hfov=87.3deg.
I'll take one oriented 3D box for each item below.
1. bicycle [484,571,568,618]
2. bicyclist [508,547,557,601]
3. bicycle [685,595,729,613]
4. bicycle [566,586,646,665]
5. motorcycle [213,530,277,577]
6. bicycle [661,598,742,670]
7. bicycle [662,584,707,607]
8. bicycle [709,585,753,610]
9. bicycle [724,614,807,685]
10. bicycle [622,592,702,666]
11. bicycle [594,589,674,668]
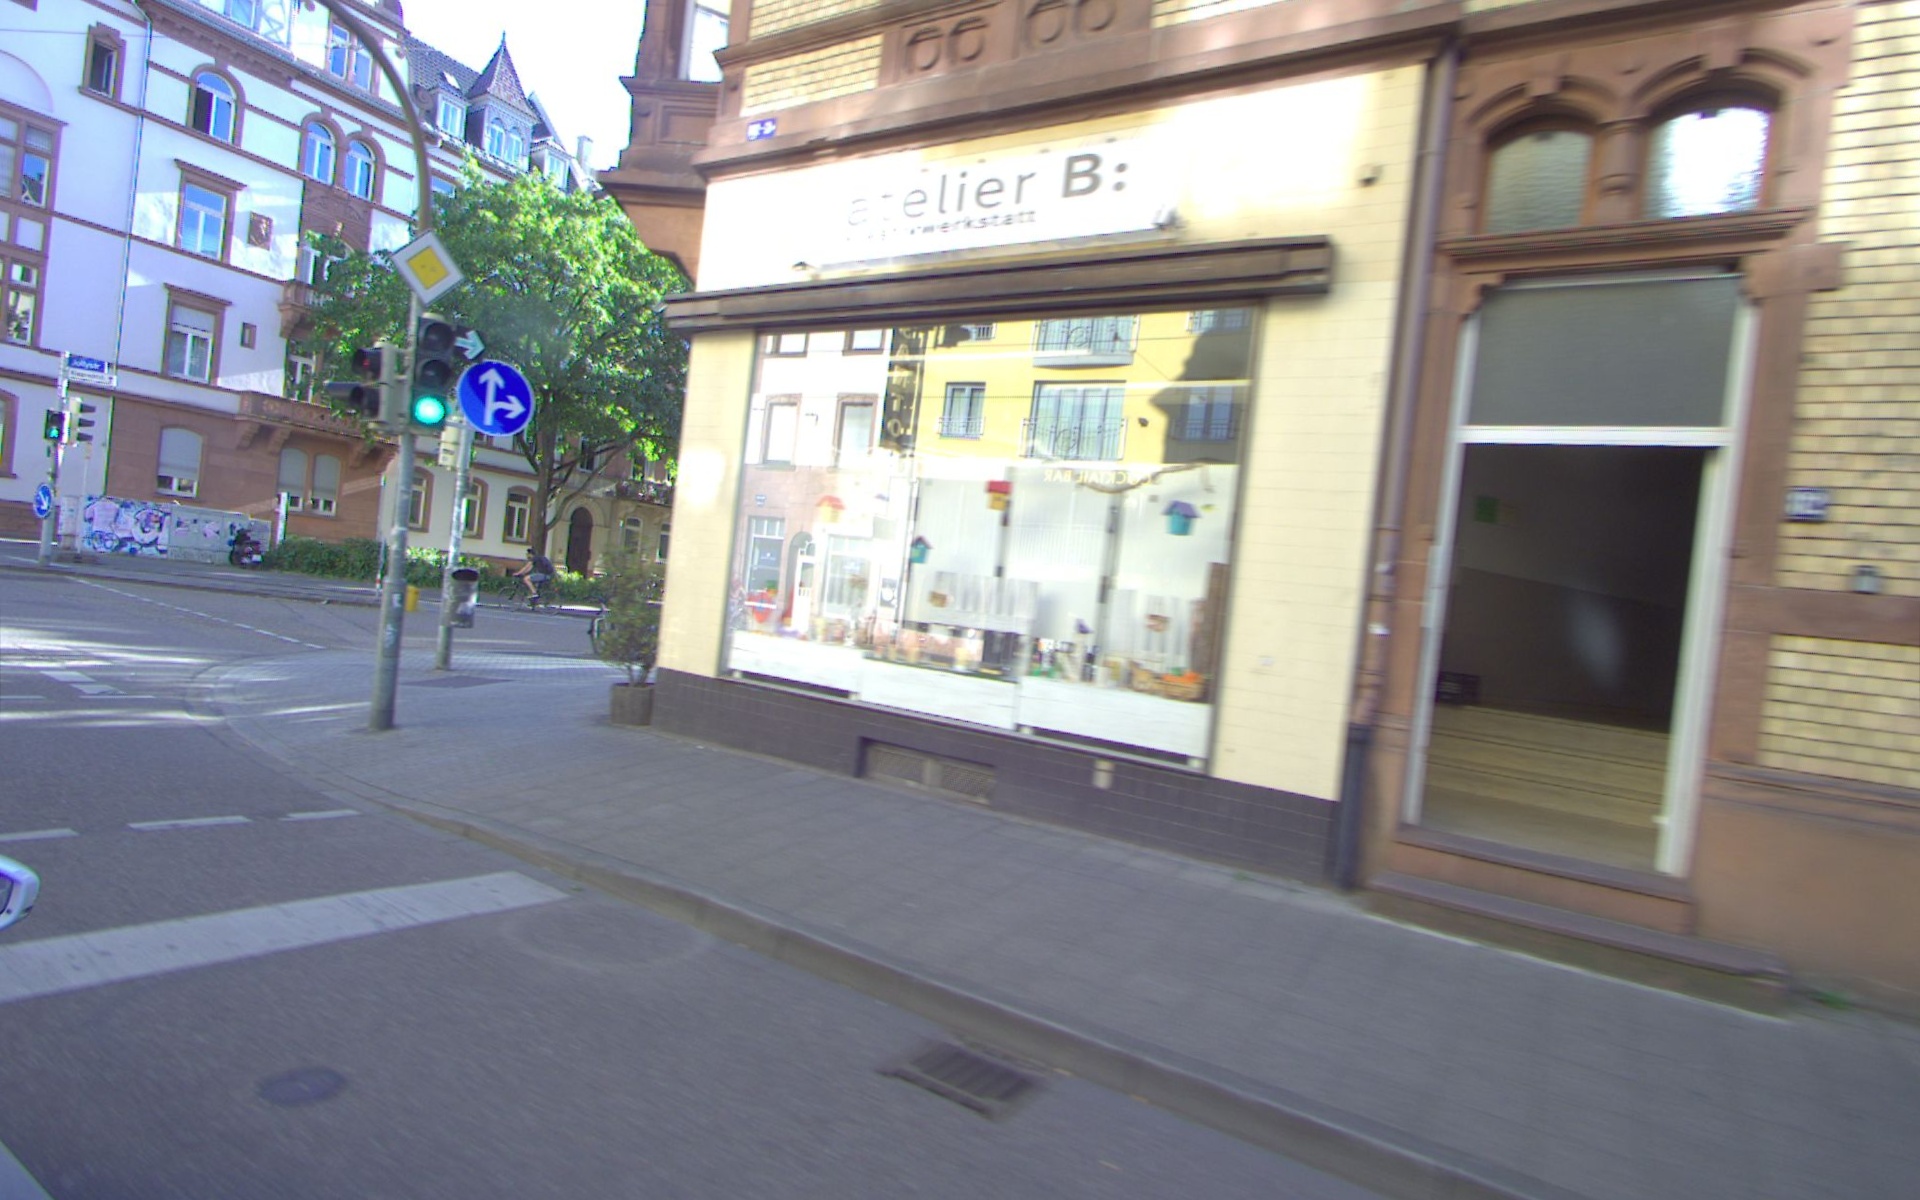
[{"bbox_3d":[-12.203,-0.153,28.351,2.068,1.057,0.843,7,0,-22],"label":"bicycle"},{"bbox_3d":[-12.046,-0.740,28.366,1.120,1.360,0.833,6,1,-22],"label":"bicyclist"},{"bbox_3d":[-12.680,0.187,50.335,2.128,0.658,1.013,6,0,38],"label":"bicycle"},{"bbox_3d":[-5.981,0.401,16.917,0.612,1.157,2.100,6,-1,-36],"label":"bicycle"},{"bbox_3d":[-21.454,-1.396,30.168,2.350,1.139,0.611,8,1,31],"label":"motorcycle"},{"bbox_3d":[-4.718,0.593,18.258,0.612,1.156,2.101,6,-2,-36],"label":"bicycle"},{"bbox_3d":[-13.500,-0.213,49.256,2.128,0.883,1.013,6,0,38],"label":"bicycle"},{"bbox_3d":[-11.812,-0.133,51.782,2.127,0.899,1.013,12,4,37],"label":"bicycle"},{"bbox_3d":[-3.646,0.898,18.713,0.612,1.156,2.101,6,-2,-36],"label":"bicycle"},{"bbox_3d":[-5.288,0.495,17.784,0.612,1.156,2.101,6,-2,-36],"label":"bicycle"},{"bbox_3d":[-5.587,0.460,17.156,0.612,1.157,2.100,6,-1,-36],"label":"bicycle"}]
